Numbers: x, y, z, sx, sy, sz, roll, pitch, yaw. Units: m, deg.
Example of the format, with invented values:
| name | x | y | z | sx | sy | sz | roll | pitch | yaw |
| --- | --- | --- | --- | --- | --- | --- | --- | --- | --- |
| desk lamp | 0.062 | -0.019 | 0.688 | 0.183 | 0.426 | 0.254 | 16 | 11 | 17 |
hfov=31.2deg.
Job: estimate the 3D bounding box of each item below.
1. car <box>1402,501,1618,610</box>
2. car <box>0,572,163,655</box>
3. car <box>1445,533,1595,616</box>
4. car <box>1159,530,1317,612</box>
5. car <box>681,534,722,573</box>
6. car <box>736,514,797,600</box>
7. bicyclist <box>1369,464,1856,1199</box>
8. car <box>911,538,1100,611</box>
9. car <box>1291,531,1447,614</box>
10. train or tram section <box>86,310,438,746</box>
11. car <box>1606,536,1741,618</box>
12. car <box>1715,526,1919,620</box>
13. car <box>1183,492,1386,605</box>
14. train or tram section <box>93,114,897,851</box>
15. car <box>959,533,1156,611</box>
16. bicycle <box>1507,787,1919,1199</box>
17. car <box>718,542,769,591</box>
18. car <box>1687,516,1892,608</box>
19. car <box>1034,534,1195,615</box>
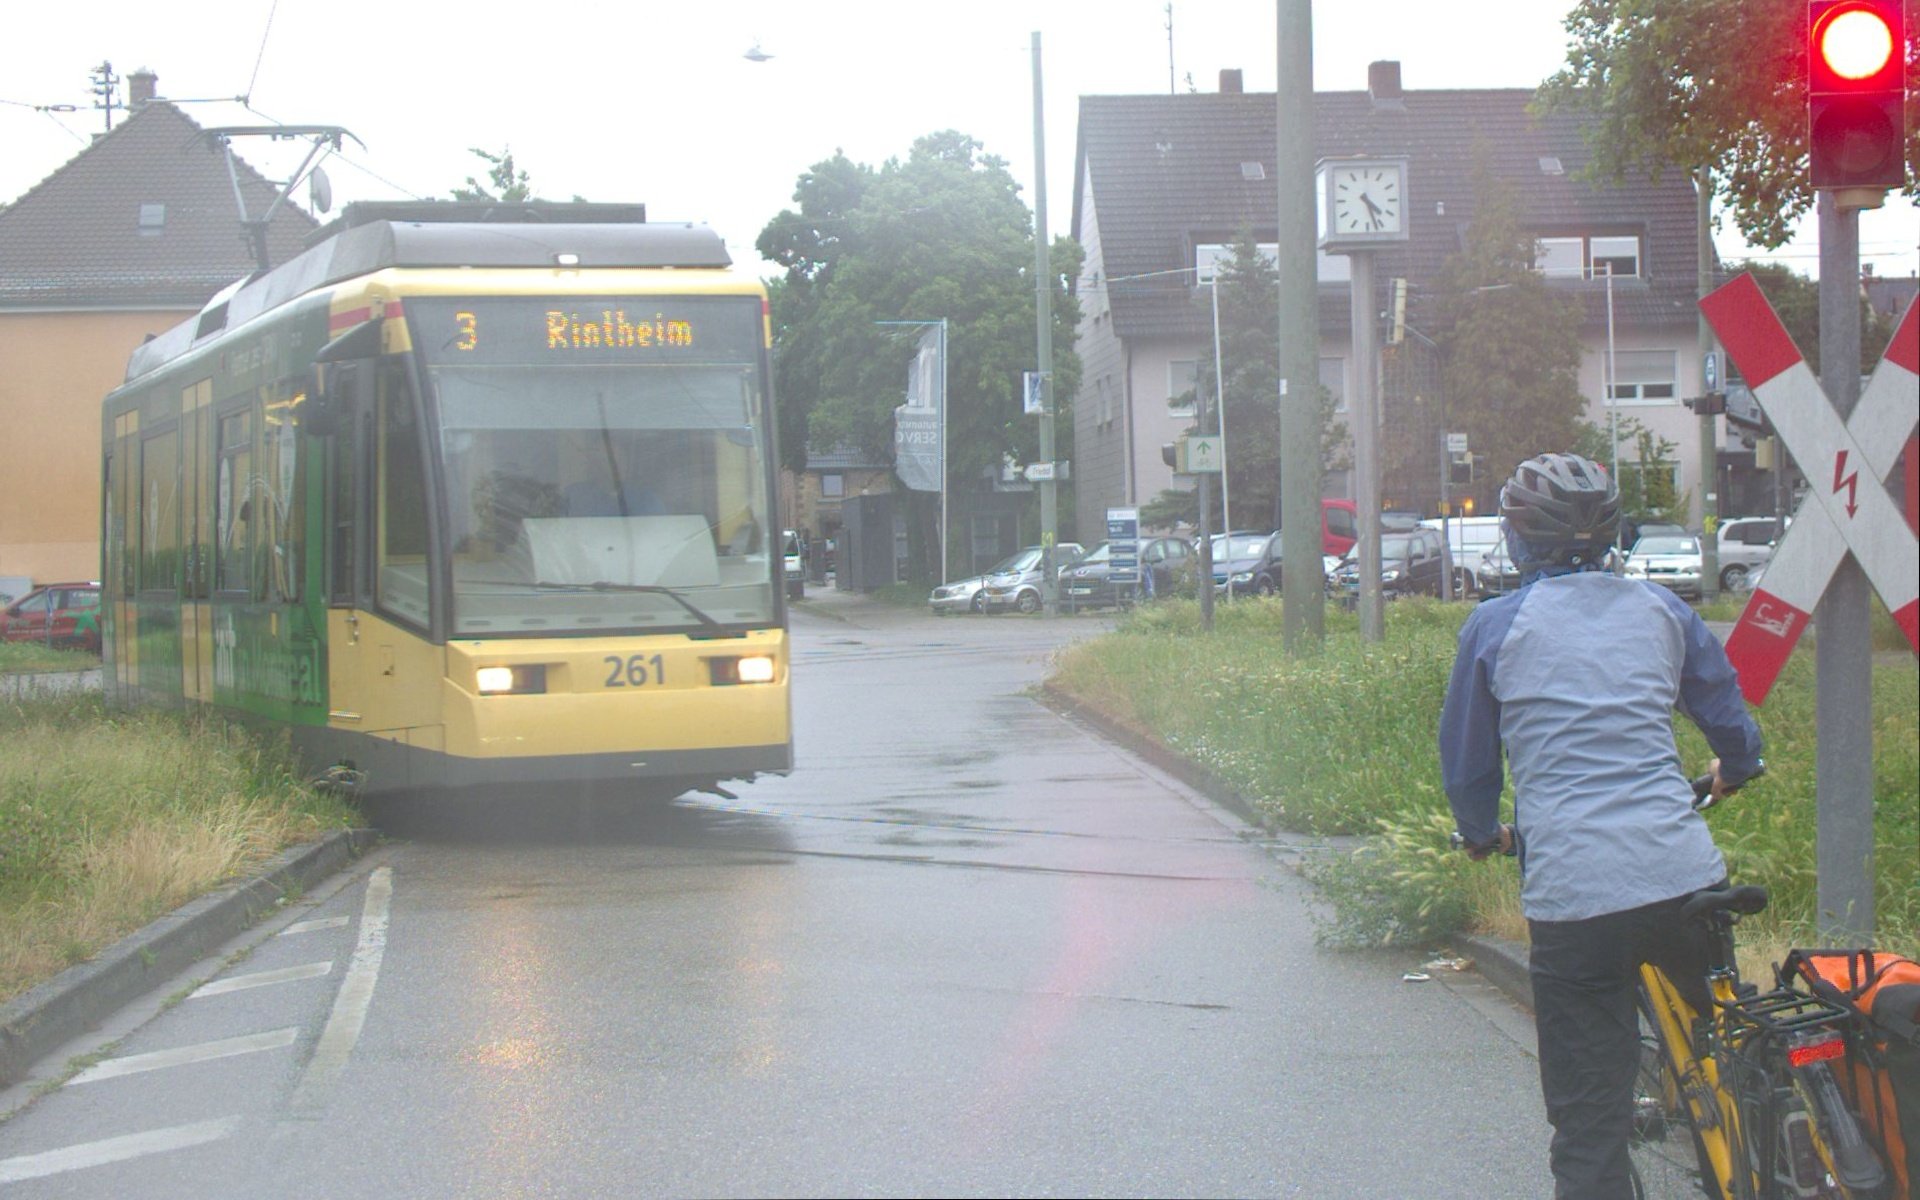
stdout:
| name | x | y | z | sx | sy | sz | roll | pitch | yaw |
| --- | --- | --- | --- | --- | --- | --- | --- | --- | --- |
| car | 12.172 | -0.980 | 76.234 | 4.395 | 2.317 | 2.000 | 1 | 0 | -2 |
| car | -16.663 | 0.227 | 62.594 | 3.986 | 1.451 | 1.834 | 1 | 0 | -6 |
| car | 11.524 | -0.512 | 70.576 | 1.996 | 1.634 | 3.995 | 1 | 0 | 25 |
| car | 5.812 | -0.599 | 71.524 | 1.996 | 1.634 | 3.995 | 1 | 0 | 25 |
| car | -12.378 | -2.221 | 164.637 | 1.804 | 1.805 | 4.000 | 1 | 0 | -3 |
| car | -6.066 | -1.335 | 108.048 | 1.804 | 2.618 | 4.000 | 1 | 0 | -3 |
| bicyclist | 1.135 | 0.586 | 6.142 | 0.667 | 1.620 | 0.853 | 1 | 0 | -2 |
| car | 1.068 | -0.600 | 79.929 | 3.987 | 1.637 | 2.000 | 0 | 0 | -36 |
| car | 8.406 | -0.554 | 70.355 | 1.996 | 1.634 | 3.995 | 1 | 0 | 25 |
| train or tram section | -6.347 | -0.634 | 30.822 | 2.760 | 3.541 | 4.990 | -2 | 1 | -14 |
| car | 14.753 | -0.470 | 70.967 | 1.843 | 1.634 | 3.995 | 1 | 0 | 25 |
| car | 16.358 | -0.513 | 65.106 | 3.684 | 1.695 | 1.890 | 1 | 0 | 0 |
| car | 7.551 | -1.193 | 79.799 | 4.398 | 2.557 | 1.999 | 1 | 0 | 14 |
| train or tram section | -3.693 | -0.605 | 22.730 | 2.760 | 3.541 | 12.207 | -2 | 1 | -19 |
| car | 2.179 | -0.624 | 76.860 | 3.987 | 1.670 | 2.000 | 0 | 0 | -36 |
| bicycle | 1.355 | 0.901 | 6.069 | 0.446 | 1.001 | 1.728 | -1 | 1 | -2 |
| car | -8.054 | -1.245 | 127.926 | 1.804 | 1.805 | 4.000 | 1 | 0 | -3 |
| car | 18.376 | -0.837 | 76.273 | 3.986 | 1.944 | 2.000 | 1 | 0 | -2 |
| car | 3.300 | -0.535 | 72.770 | 1.996 | 1.634 | 3.995 | 1 | 0 | 25 |
